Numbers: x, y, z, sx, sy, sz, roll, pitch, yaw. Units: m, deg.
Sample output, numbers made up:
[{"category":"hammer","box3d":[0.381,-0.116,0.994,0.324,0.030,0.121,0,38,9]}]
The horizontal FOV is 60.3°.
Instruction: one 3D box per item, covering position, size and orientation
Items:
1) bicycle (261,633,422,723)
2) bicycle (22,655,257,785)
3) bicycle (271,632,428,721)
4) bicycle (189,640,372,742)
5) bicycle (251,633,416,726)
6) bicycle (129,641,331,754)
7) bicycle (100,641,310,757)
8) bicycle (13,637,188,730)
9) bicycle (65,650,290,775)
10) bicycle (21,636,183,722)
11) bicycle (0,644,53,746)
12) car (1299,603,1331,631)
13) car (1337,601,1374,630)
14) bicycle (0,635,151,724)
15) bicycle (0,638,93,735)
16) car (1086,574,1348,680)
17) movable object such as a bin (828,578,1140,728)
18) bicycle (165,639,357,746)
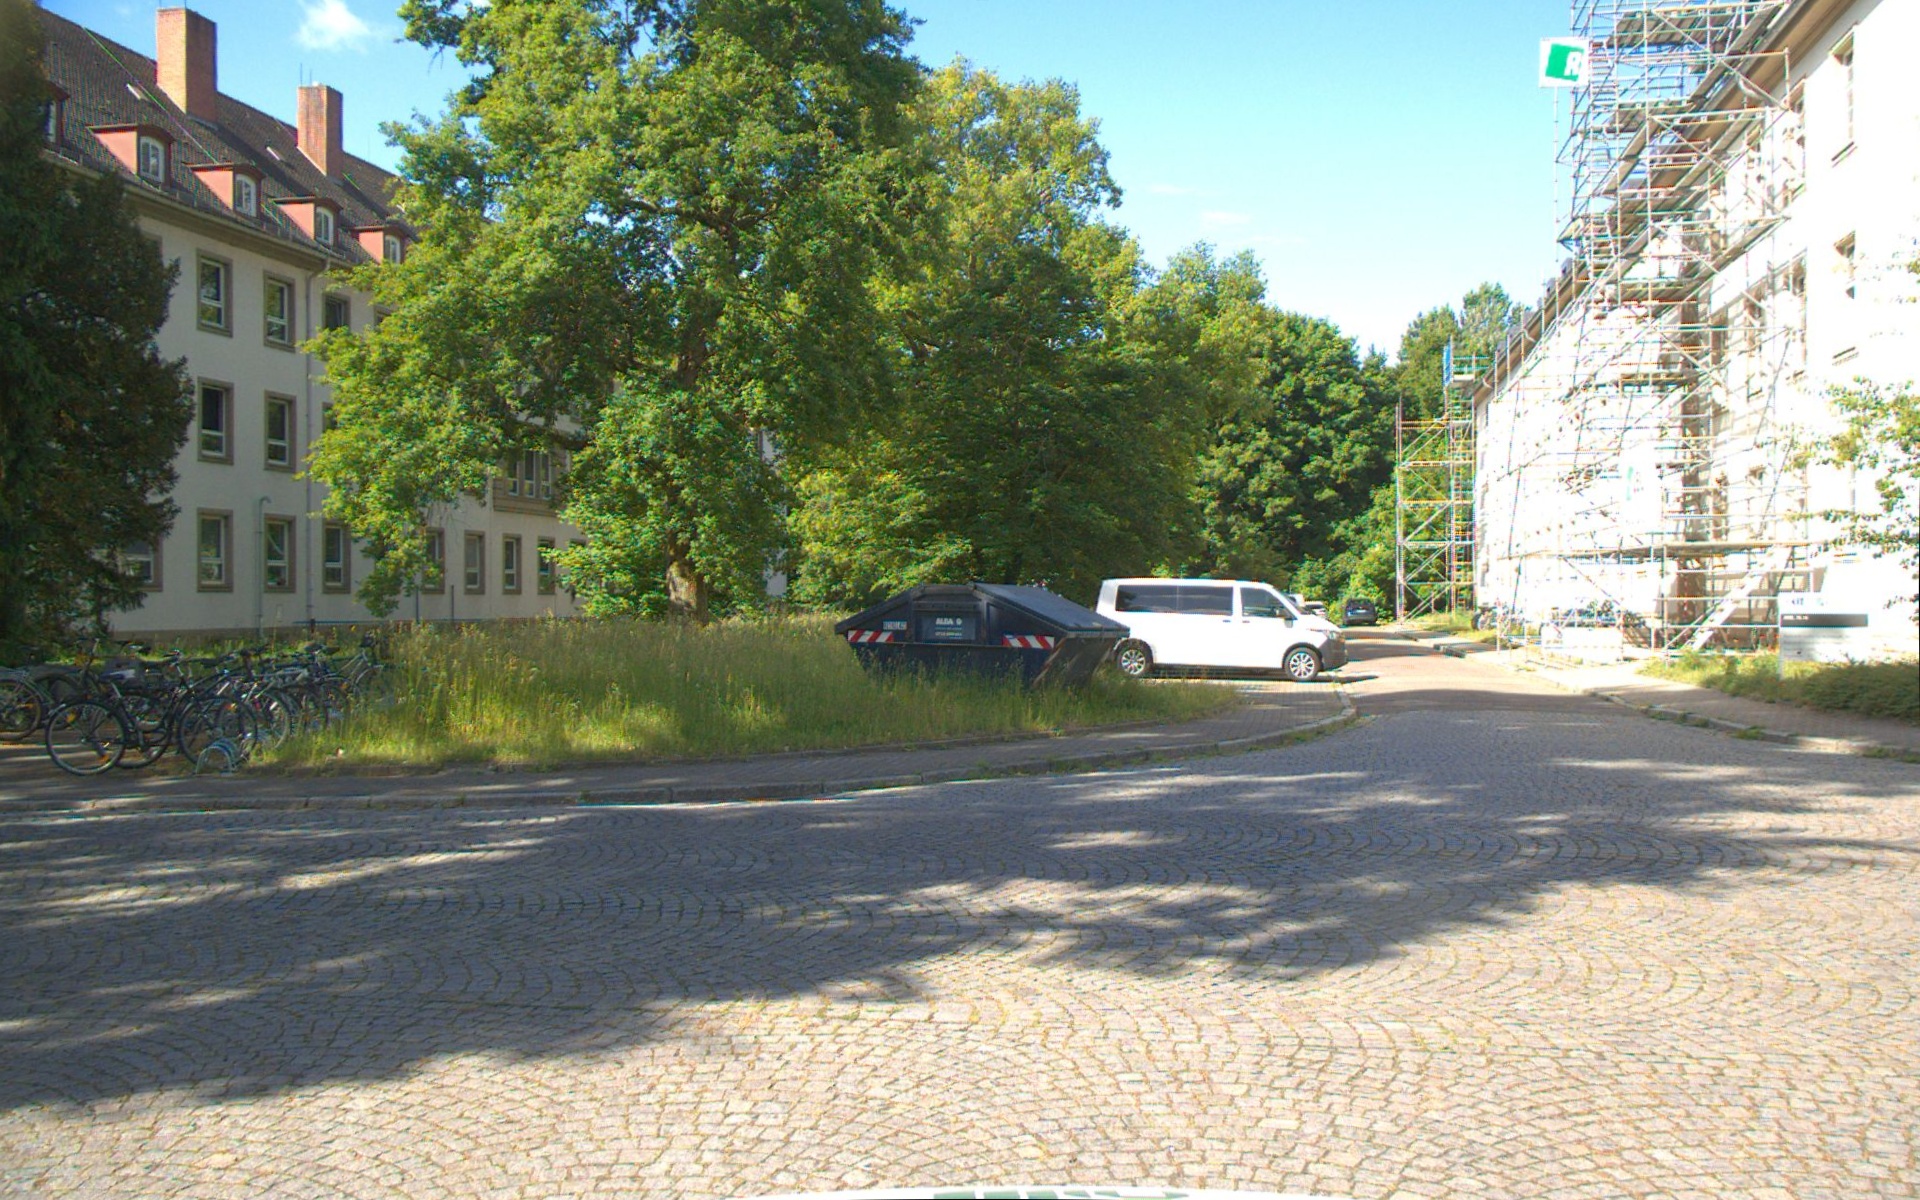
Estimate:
[{"category":"bicycle","box3d":[-8.087,1.012,21.674,1.878,1.076,0.475,-2,0,-10]},{"category":"bicycle","box3d":[-7.656,1.102,15.508,1.883,1.076,0.473,-2,0,-18]},{"category":"bicycle","box3d":[-8.155,1.015,22.136,1.878,1.076,0.475,-2,0,-10]},{"category":"bicycle","box3d":[-7.935,1.057,19.361,1.878,1.076,0.475,-2,0,-10]},{"category":"bicycle","box3d":[-8.004,1.008,21.180,1.878,1.076,0.475,-2,0,-10]},{"category":"bicycle","box3d":[-7.780,1.030,17.691,1.879,1.076,0.474,-2,0,-11]},{"category":"bicycle","box3d":[-7.787,1.011,17.117,1.879,1.076,0.474,-2,0,-11]},{"category":"bicycle","box3d":[-10.915,1.048,21.047,1.877,1.122,0.569,0,1,-8]},{"category":"bicycle","box3d":[-7.561,1.071,16.056,1.883,1.076,0.473,-2,0,-18]},{"category":"bicycle","box3d":[-11.756,1.072,22.716,1.879,1.122,0.569,0,1,-12]},{"category":"bicycle","box3d":[-11.393,1.081,18.710,1.882,1.122,0.568,0,1,-17]},{"category":"car","box3d":[21.001,0.983,97.921,1.773,1.607,4.138,-1,0,11]},{"category":"car","box3d":[23.364,0.902,97.737,1.929,1.697,4.089,-1,0,11]},{"category":"bicycle","box3d":[-11.742,1.035,21.747,1.877,1.122,0.569,0,1,-8]},{"category":"bicycle","box3d":[-11.645,1.051,20.090,1.882,1.122,0.568,0,1,-17]},{"category":"car","box3d":[5.247,0.540,33.718,5.122,2.051,1.952,0,0,11]},{"category":"movable object such as a bin","box3d":[0.308,0.658,21.356,3.499,1.775,2.021,-1,-1,30]},{"category":"bicycle","box3d":[-7.801,1.022,18.503,1.879,1.076,0.474,-2,0,-11]}]
